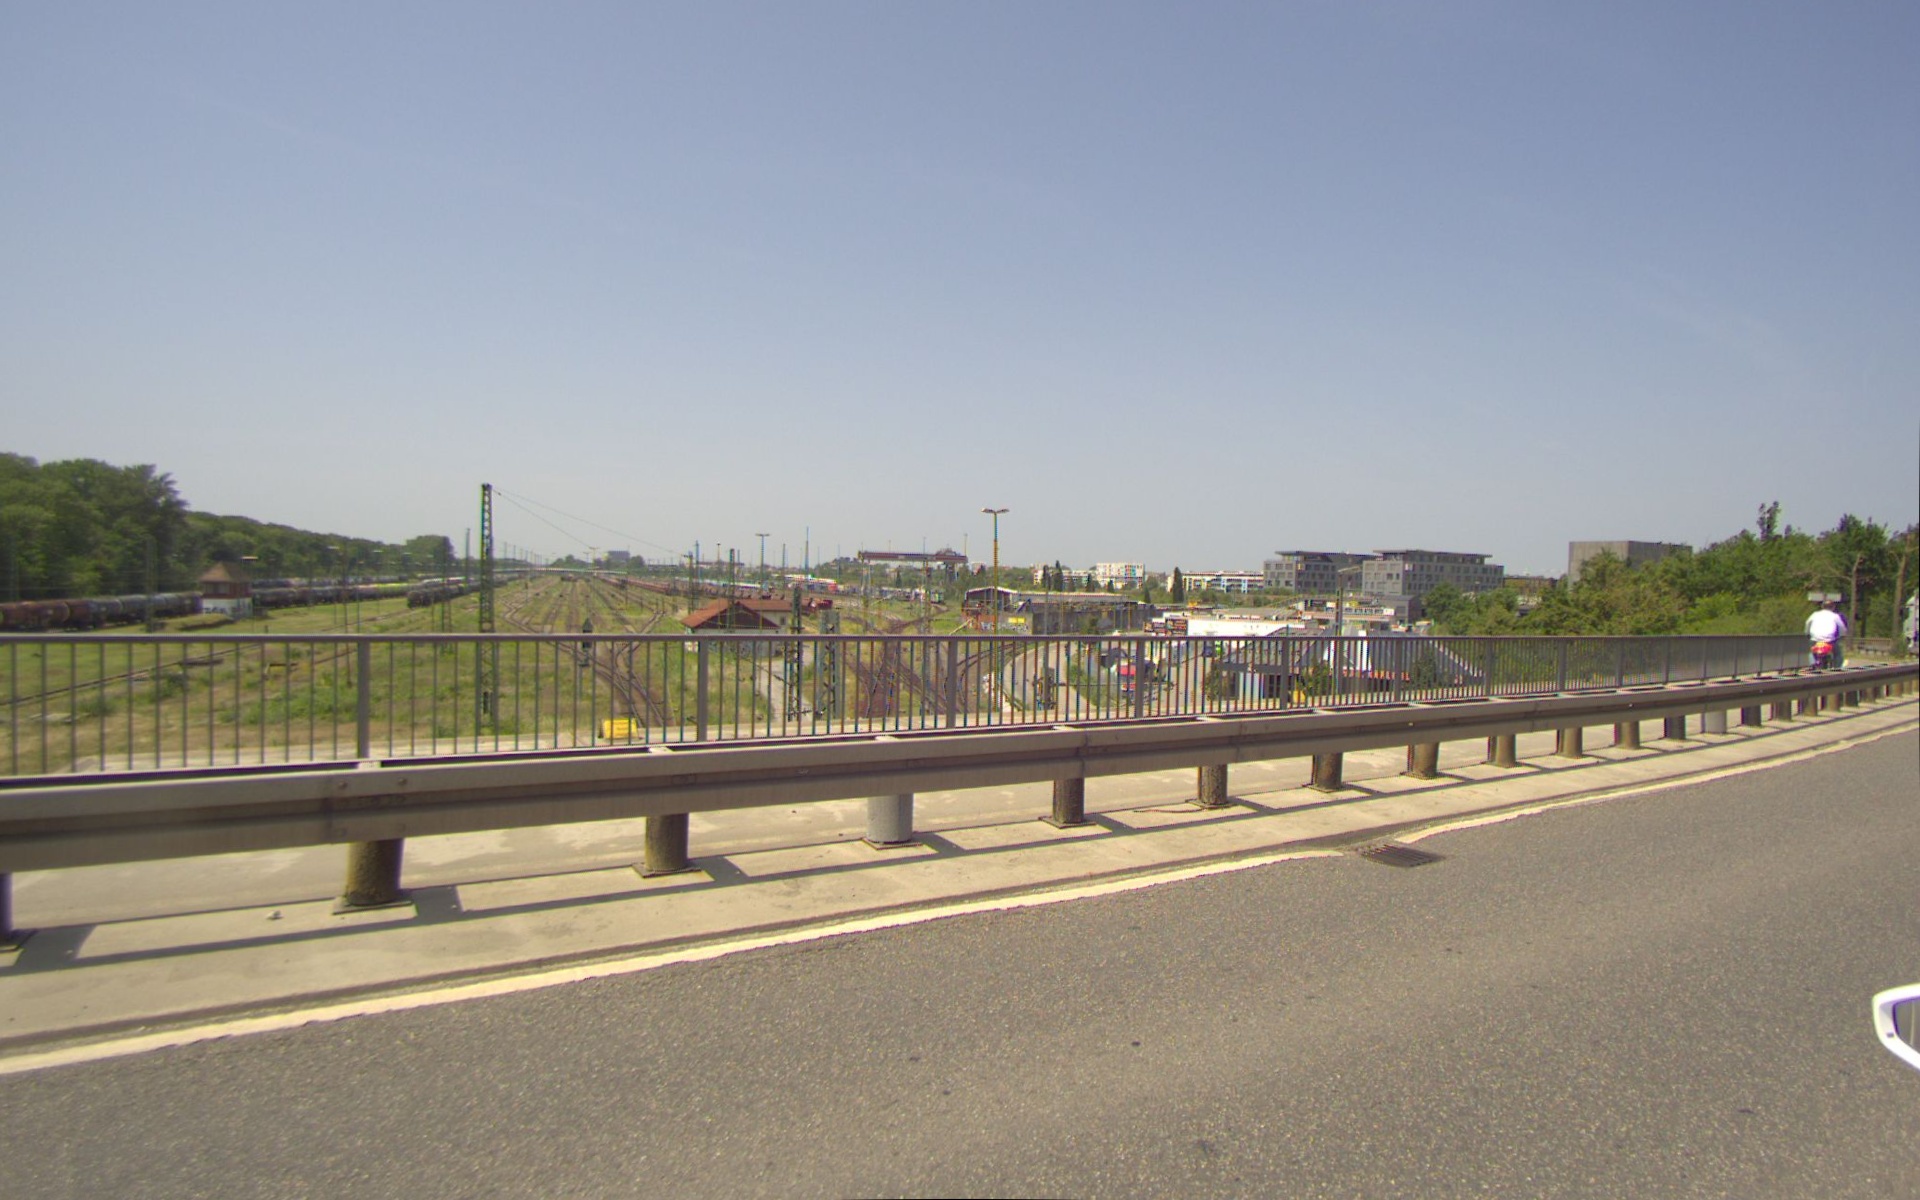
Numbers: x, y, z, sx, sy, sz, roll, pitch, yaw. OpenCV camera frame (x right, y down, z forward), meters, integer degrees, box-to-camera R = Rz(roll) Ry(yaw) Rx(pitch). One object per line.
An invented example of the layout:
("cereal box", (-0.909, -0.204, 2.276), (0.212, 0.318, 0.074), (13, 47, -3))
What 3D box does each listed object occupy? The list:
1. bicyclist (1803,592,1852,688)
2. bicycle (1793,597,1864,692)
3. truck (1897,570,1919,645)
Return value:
("bicyclist", (17.563, 0.792, 20.332), (0.706, 1.911, 0.619), (0, 1, -39))
("bicycle", (17.594, 0.859, 20.335), (2.161, 1.826, 0.692), (0, 1, -39))
("truck", (59.643, 0.472, 60.404), (3.522, 4.500, 6.500), (1, 0, 31))
